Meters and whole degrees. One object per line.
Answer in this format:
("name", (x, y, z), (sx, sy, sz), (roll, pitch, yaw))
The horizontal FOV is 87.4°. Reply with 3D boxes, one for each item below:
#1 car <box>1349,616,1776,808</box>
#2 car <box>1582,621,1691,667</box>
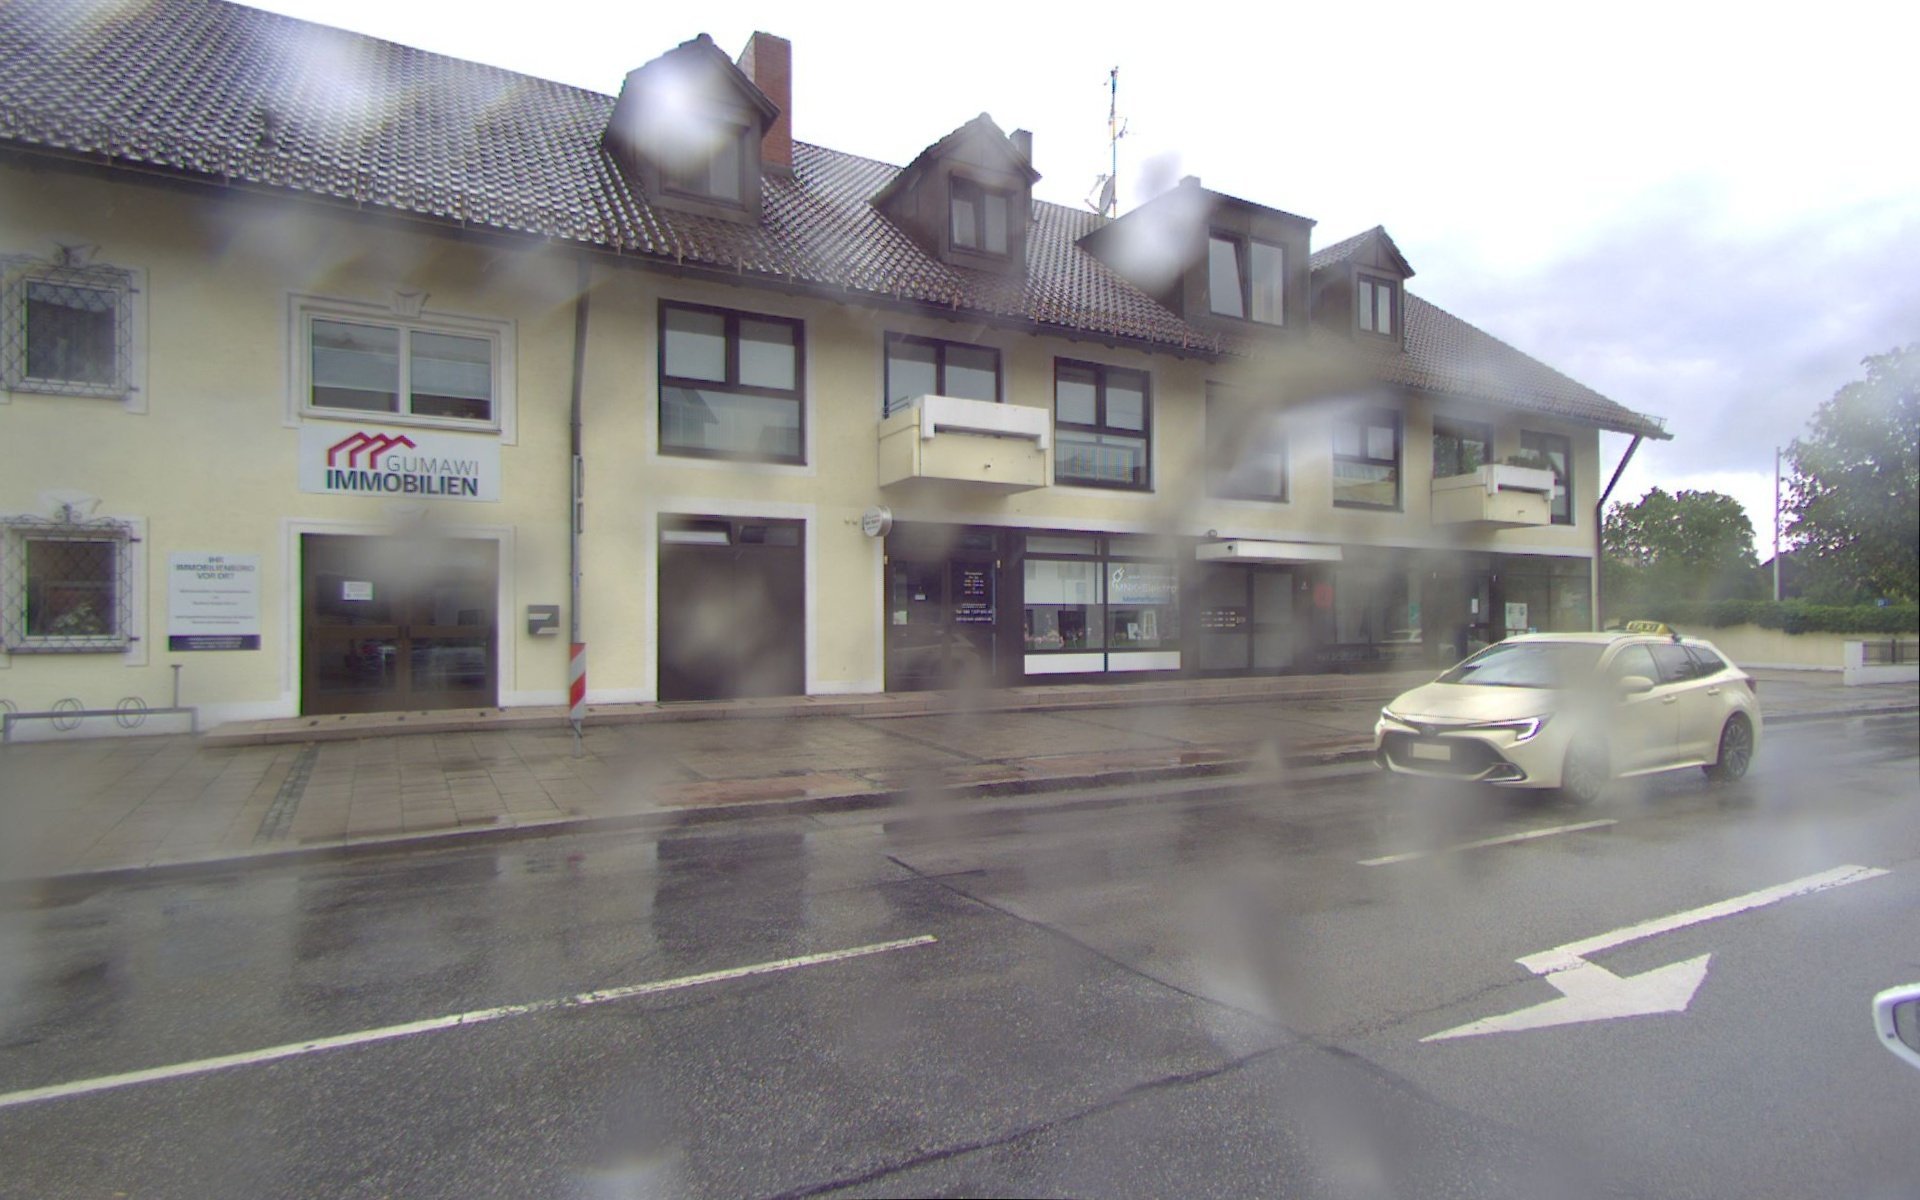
("car", (5.964, 0.967, 9.859), (4.179, 1.531, 1.745), (1, -3, -29))
("car", (22.079, 1.426, 32.776), (3.468, 1.398, 1.599), (1, -3, -31))
